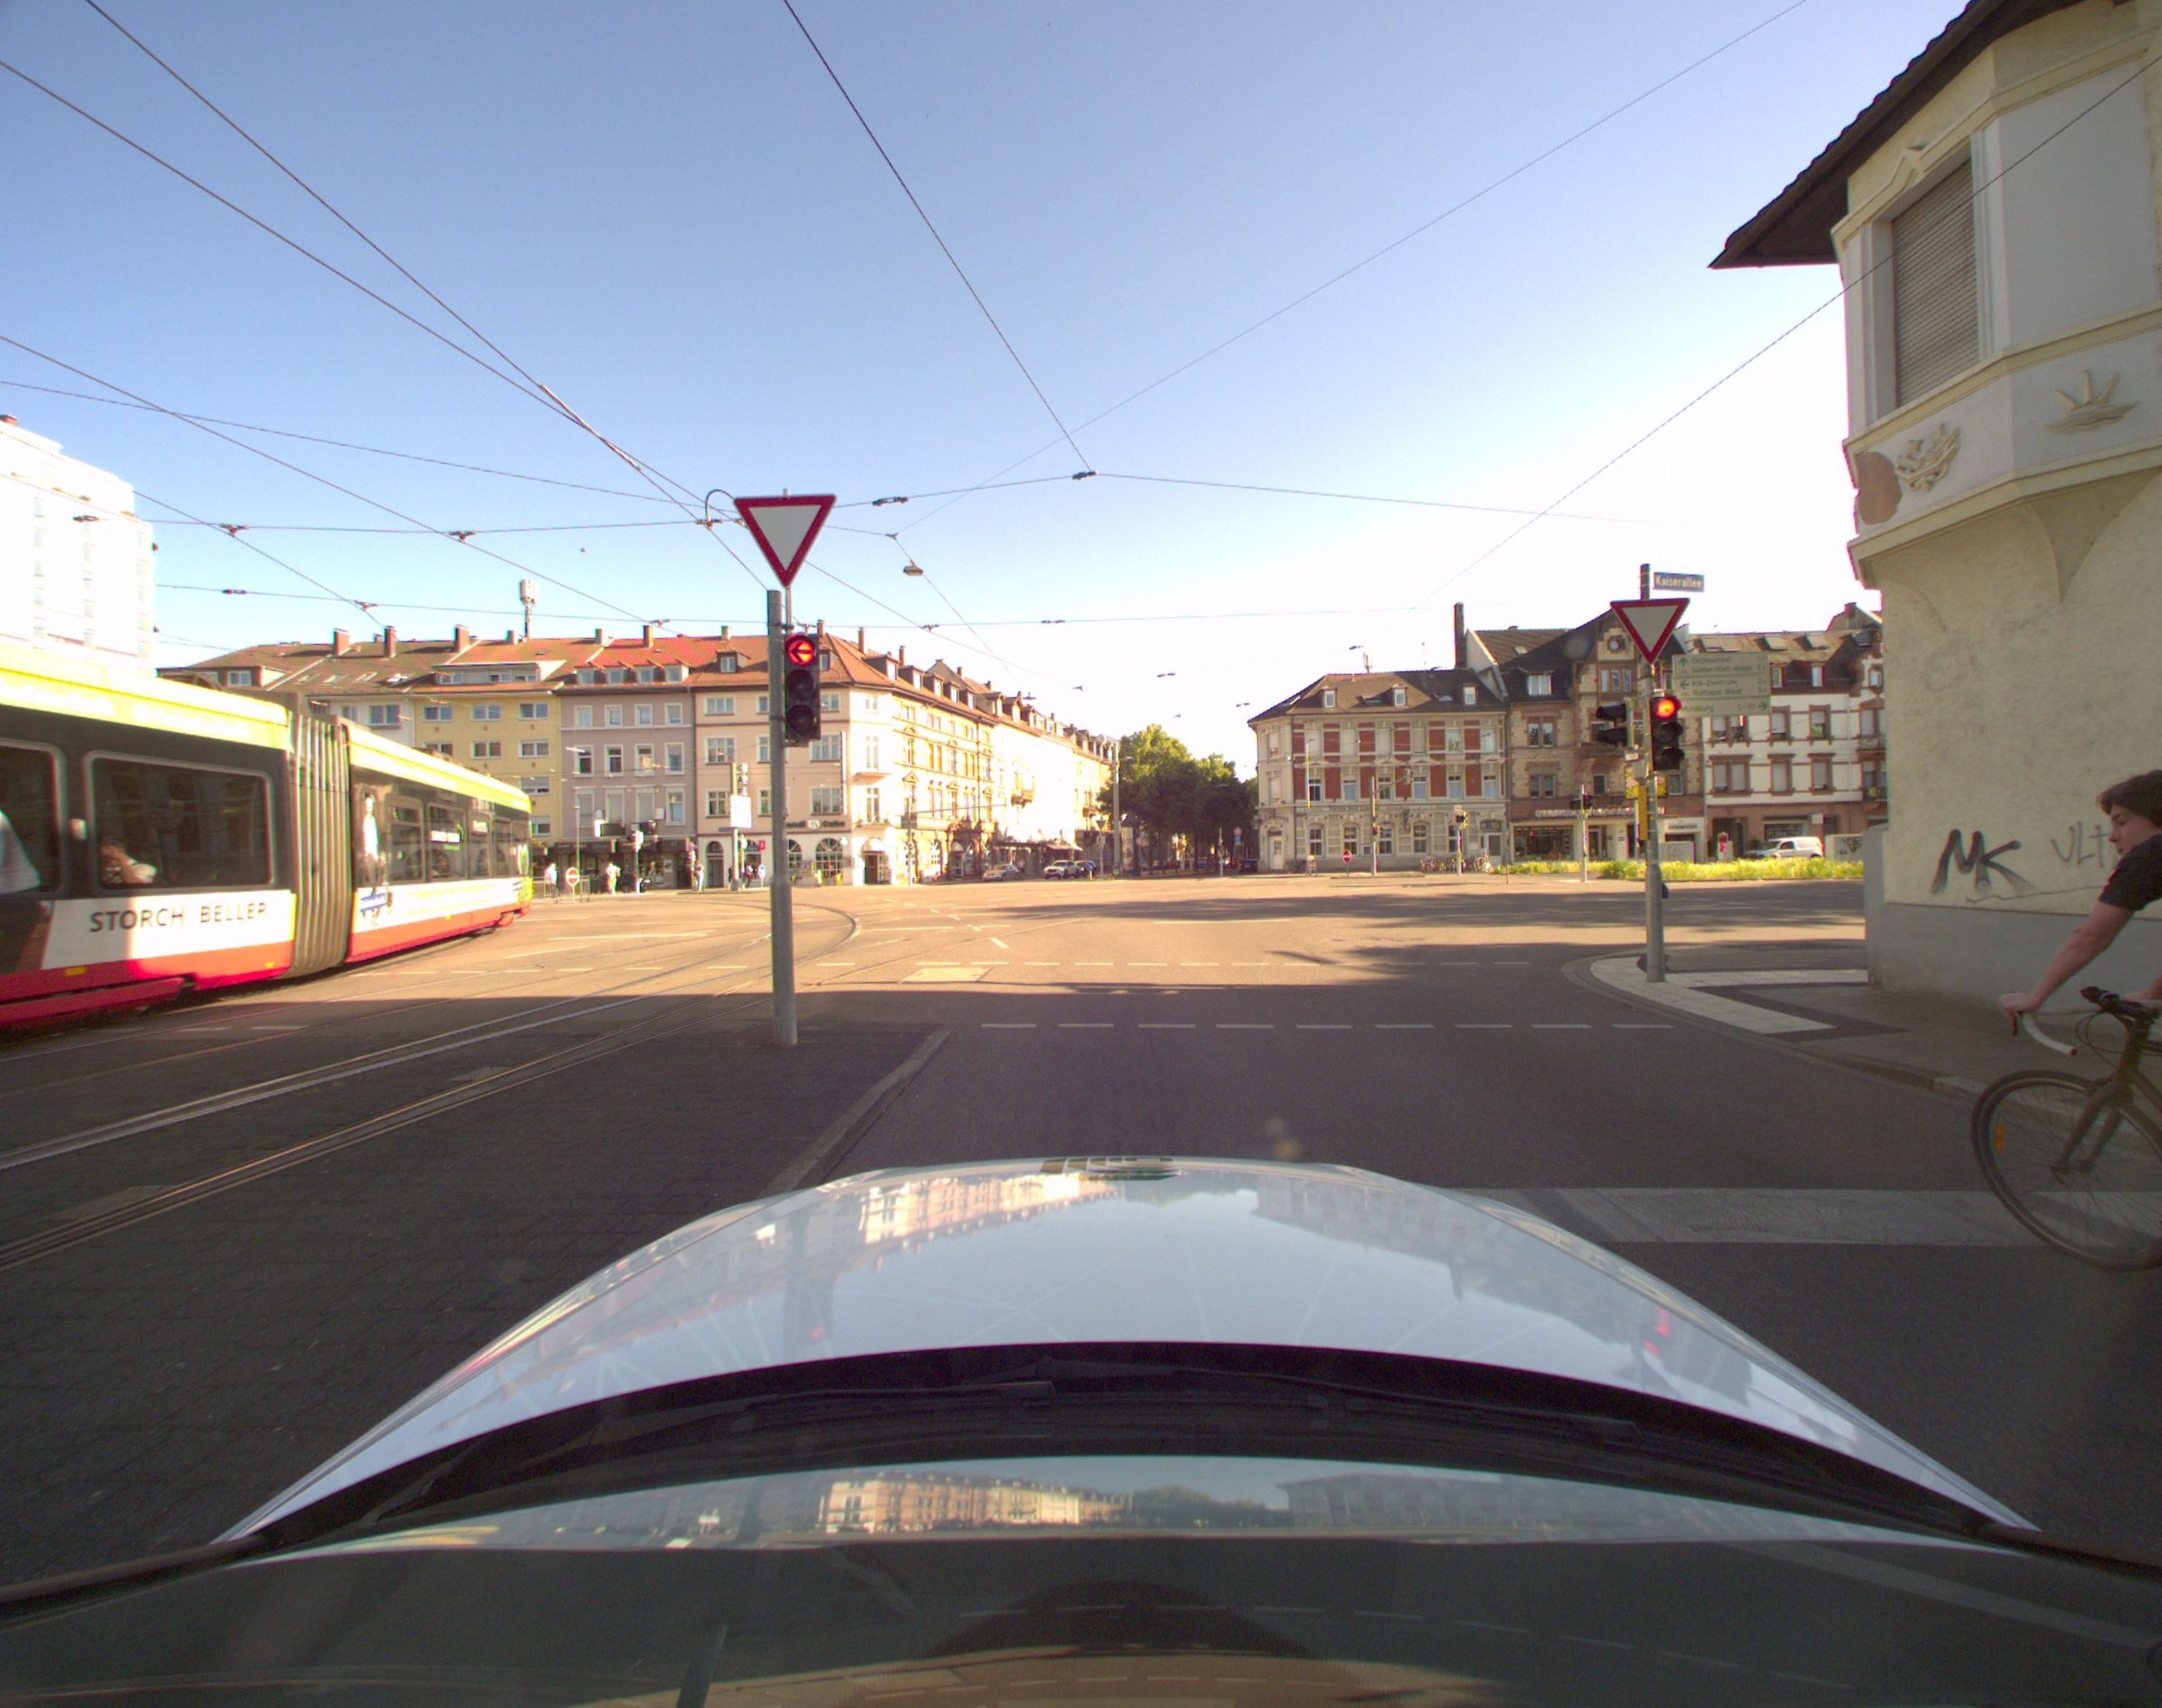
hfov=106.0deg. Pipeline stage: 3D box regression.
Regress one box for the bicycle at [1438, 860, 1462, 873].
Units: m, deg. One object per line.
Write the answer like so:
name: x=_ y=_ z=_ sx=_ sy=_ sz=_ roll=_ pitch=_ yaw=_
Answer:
bicycle: x=23.881 y=0.818 z=52.732 sx=0.656 sy=0.840 sz=2.162 roll=0 pitch=-1 yaw=3

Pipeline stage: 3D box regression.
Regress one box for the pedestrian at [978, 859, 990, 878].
pedestrian: x=-8.589 y=1.296 z=72.000 sx=0.770 sy=1.670 sz=0.834 roll=-1 pitch=-1 yaw=17

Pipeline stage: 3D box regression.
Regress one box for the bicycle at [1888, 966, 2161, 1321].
bicycle: x=3.595 y=0.957 z=2.501 sx=0.516 sy=0.970 sz=1.750 roll=-1 pitch=0 yaw=2

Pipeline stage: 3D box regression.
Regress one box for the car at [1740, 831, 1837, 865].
car: x=45.439 y=-0.371 z=52.393 sx=4.406 sy=2.013 sz=2.002 roll=-1 pitch=0 yaw=4

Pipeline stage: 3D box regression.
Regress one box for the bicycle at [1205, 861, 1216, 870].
bicycle: x=15.766 y=1.391 z=99.272 sx=0.636 sy=1.021 sz=1.839 roll=0 pitch=-1 yaw=-12

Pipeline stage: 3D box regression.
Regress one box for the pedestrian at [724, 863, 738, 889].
pedestrian: x=-22.795 y=1.430 z=53.028 sx=0.580 sy=1.670 sz=0.753 roll=0 pitch=-1 yaw=2

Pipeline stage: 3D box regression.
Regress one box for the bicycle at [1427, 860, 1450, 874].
bicycle: x=23.157 y=0.824 z=52.747 sx=0.656 sy=0.840 sz=2.162 roll=0 pitch=-1 yaw=3

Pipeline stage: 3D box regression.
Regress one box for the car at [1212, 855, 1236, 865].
car: x=23.352 y=0.967 z=133.146 sx=3.549 sy=1.648 sz=1.691 roll=-1 pitch=0 yaw=19

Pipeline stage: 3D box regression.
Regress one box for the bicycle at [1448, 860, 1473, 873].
bicycle: x=24.564 y=0.814 z=52.739 sx=0.656 sy=0.840 sz=2.162 roll=0 pitch=-1 yaw=3

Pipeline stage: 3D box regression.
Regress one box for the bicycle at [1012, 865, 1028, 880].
bicycle: x=-4.898 y=1.479 z=65.527 sx=0.696 sy=1.118 sz=1.642 roll=-1 pitch=-1 yaw=16

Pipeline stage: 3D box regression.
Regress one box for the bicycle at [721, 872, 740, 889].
bicycle: x=-22.795 y=1.726 z=52.946 sx=0.570 sy=1.077 sz=1.497 roll=0 pitch=-1 yaw=2

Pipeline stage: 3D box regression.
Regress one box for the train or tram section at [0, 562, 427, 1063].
train or tram section: x=-9.456 y=-0.303 z=4.485 sx=2.930 sy=3.814 sz=12.784 roll=-1 pitch=0 yaw=-8

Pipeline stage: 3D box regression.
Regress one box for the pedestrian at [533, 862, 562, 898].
pedestrian: x=-23.894 y=1.163 z=36.457 sx=0.657 sy=1.577 sz=0.889 roll=-1 pitch=-1 yaw=29

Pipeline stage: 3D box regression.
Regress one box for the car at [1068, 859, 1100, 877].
car: x=0.304 y=1.237 z=73.762 sx=1.664 sy=1.483 sz=3.967 roll=-2 pitch=0 yaw=19

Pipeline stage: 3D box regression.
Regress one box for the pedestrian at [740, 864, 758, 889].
pedestrian: x=-20.738 y=1.386 z=50.805 sx=0.838 sy=1.577 sz=0.718 roll=0 pitch=-1 yaw=-45

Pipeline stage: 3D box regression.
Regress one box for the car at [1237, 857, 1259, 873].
car: x=16.900 y=1.098 z=82.326 sx=1.664 sy=1.483 sz=3.967 roll=-2 pitch=0 yaw=19

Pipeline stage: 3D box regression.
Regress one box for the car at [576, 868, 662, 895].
car: x=-30.370 y=1.776 z=53.630 sx=4.347 sy=1.711 sz=2.308 roll=0 pitch=-1 yaw=4

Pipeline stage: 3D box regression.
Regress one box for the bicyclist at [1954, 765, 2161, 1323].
bicyclist: x=3.571 y=0.576 z=2.492 sx=0.570 sy=1.701 sz=1.117 roll=-1 pitch=0 yaw=2

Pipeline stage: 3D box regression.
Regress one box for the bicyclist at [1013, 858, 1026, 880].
bicyclist: x=-4.945 y=1.204 z=65.407 sx=0.772 sy=1.803 sz=1.060 roll=-1 pitch=-1 yaw=16

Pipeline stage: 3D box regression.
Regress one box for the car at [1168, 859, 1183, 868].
car: x=15.718 y=1.520 z=135.594 sx=1.664 sy=1.354 sz=3.608 roll=-2 pitch=0 yaw=19

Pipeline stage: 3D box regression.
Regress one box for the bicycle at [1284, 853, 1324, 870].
bicycle: x=15.600 y=0.501 z=57.051 sx=2.547 sy=1.174 sz=0.818 roll=0 pitch=-1 yaw=-1

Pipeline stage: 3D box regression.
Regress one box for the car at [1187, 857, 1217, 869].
car: x=17.201 y=1.257 z=115.447 sx=3.870 sy=1.648 sz=1.691 roll=-1 pitch=0 yaw=19

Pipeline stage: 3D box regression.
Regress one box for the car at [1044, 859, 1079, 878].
car: x=-1.609 y=1.210 z=67.502 sx=1.664 sy=1.483 sz=3.789 roll=-2 pitch=0 yaw=19

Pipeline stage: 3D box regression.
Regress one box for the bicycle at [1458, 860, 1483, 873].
bicycle: x=25.201 y=0.809 z=52.694 sx=0.656 sy=0.840 sz=2.162 roll=0 pitch=-1 yaw=3

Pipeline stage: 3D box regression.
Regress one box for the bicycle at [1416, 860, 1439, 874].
bicycle: x=22.422 y=0.828 z=52.688 sx=0.656 sy=0.840 sz=2.162 roll=0 pitch=-1 yaw=3

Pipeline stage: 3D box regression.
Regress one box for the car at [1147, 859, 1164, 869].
car: x=11.240 y=1.534 z=122.355 sx=1.664 sy=1.354 sz=3.608 roll=-2 pitch=0 yaw=19

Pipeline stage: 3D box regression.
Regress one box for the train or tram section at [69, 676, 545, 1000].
train or tram section: x=-13.131 y=-0.152 z=15.683 sx=2.947 sy=3.814 sz=12.019 roll=-1 pitch=0 yaw=-25

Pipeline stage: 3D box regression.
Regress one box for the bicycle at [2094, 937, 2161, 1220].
bicycle: x=4.468 y=0.928 z=2.532 sx=0.515 sy=1.090 sz=1.799 roll=-1 pitch=2 yaw=5

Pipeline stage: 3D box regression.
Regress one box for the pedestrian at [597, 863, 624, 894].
pedestrian: x=-24.610 y=1.276 z=42.613 sx=0.842 sy=1.577 sz=0.836 roll=-1 pitch=-1 yaw=11

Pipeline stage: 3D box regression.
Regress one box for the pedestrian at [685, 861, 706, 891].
pedestrian: x=-19.988 y=1.132 z=42.216 sx=0.545 sy=1.577 sz=0.838 roll=-1 pitch=-1 yaw=29

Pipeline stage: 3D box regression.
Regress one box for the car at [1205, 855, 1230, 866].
car: x=21.446 y=1.060 z=127.712 sx=3.549 sy=1.648 sz=1.691 roll=-1 pitch=0 yaw=19

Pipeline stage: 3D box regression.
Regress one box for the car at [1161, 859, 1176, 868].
car: x=14.031 y=1.500 z=130.601 sx=1.664 sy=1.354 sz=3.608 roll=-2 pitch=0 yaw=19

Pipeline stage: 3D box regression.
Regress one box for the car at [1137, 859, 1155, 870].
car: x=9.170 y=1.489 z=115.439 sx=1.664 sy=1.354 sz=3.608 roll=-2 pitch=0 yaw=19

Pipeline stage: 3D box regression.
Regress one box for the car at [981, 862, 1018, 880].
car: x=-6.713 y=1.418 z=67.218 sx=1.664 sy=1.354 sz=3.608 roll=-2 pitch=0 yaw=19

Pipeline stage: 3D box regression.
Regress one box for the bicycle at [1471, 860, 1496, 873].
bicycle: x=26.004 y=0.803 z=52.709 sx=0.656 sy=0.840 sz=2.162 roll=0 pitch=-1 yaw=3
